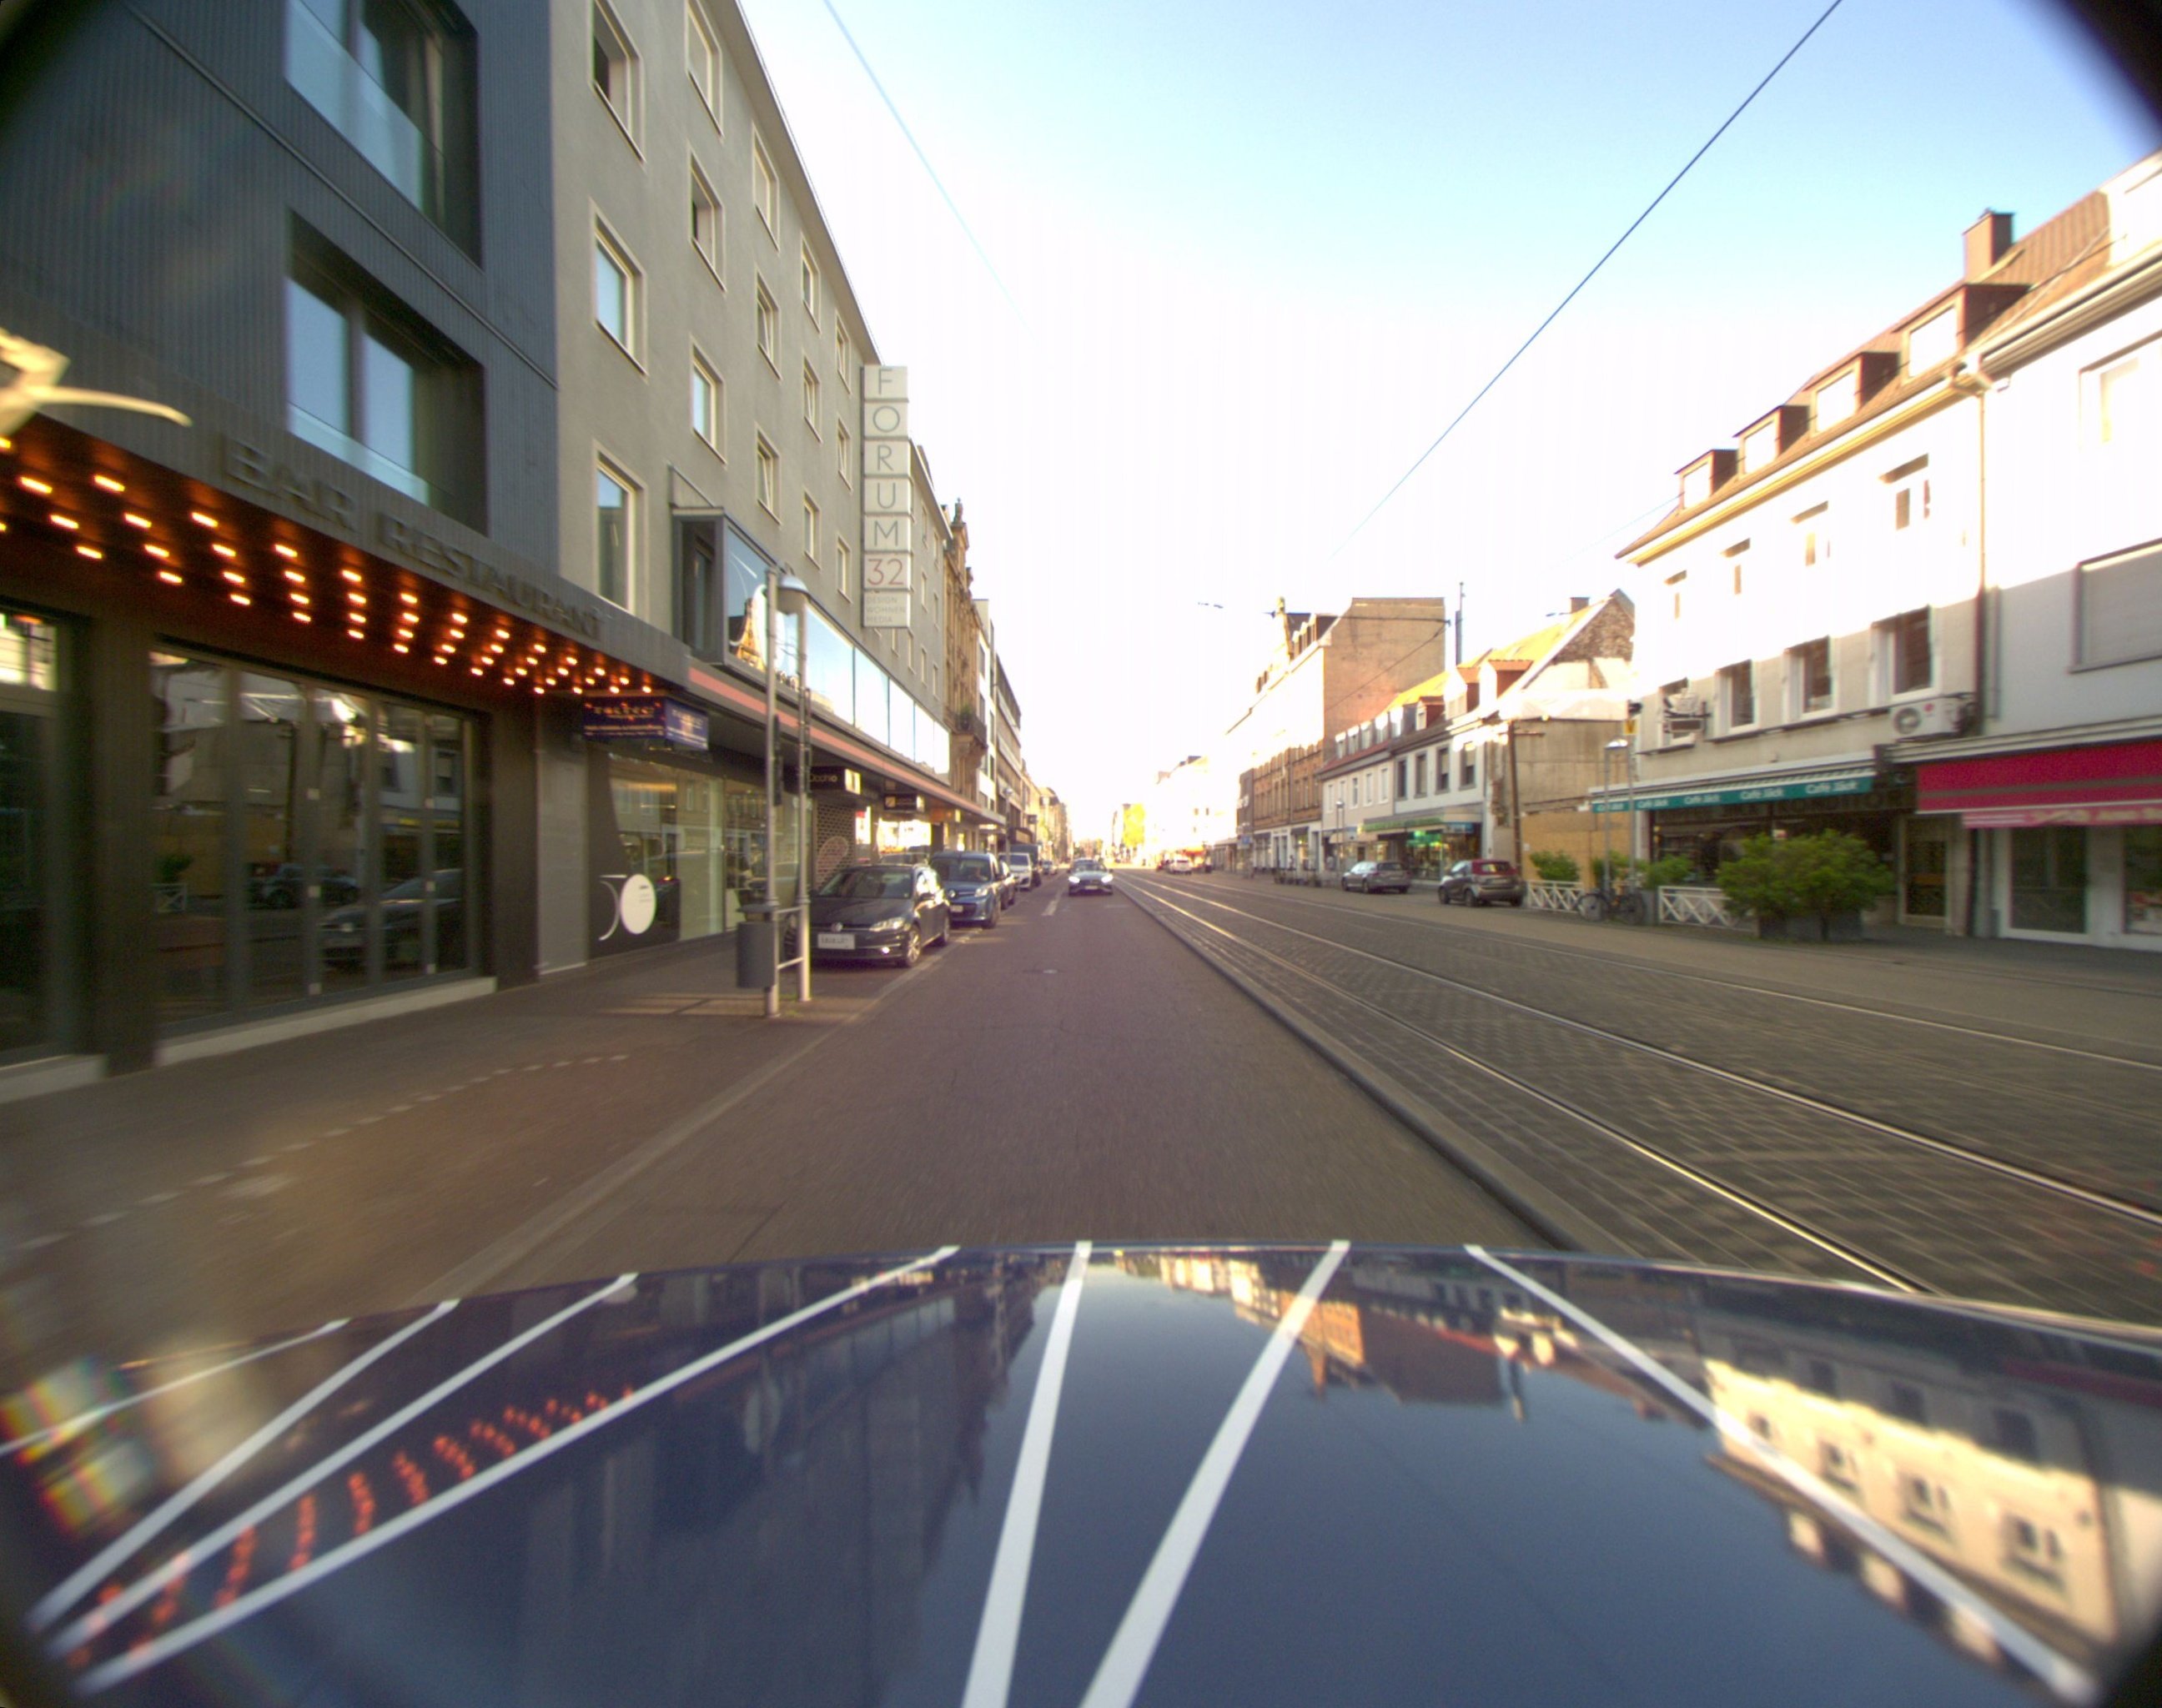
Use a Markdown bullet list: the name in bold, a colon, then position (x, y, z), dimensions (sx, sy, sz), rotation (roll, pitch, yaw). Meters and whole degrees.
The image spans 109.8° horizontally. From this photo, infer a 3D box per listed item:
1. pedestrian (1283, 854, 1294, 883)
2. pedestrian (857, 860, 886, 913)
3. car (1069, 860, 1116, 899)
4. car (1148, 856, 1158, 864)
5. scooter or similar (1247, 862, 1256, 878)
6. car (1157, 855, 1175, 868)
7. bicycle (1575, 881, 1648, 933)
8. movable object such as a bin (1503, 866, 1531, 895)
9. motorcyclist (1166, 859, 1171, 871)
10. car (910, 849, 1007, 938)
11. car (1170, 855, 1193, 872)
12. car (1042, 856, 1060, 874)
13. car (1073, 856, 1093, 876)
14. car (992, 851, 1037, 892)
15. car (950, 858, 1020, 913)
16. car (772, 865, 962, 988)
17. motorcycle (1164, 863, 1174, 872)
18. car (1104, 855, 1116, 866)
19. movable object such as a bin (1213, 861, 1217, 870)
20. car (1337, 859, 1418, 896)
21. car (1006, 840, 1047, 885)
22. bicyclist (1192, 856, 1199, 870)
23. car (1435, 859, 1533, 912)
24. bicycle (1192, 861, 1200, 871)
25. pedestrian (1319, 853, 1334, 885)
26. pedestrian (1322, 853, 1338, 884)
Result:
- **pedestrian**: position (13.498, 0.936, 49.352), dimensions (0.581, 1.795, 0.659), rotation (-2, 1, 12)
- **pedestrian**: position (-5.909, 0.911, 21.491), dimensions (0.577, 1.431, 0.731), rotation (2, 1, 0)
- **car**: position (0.446, 1.029, 32.083), dimensions (1.858, 1.463, 4.785), rotation (0, 0, 0)
- **car**: position (14.625, 1.159, 155.189), dimensions (1.630, 1.524, 3.463), rotation (2, 0, 0)
- **scooter or similar**: position (13.704, 1.296, 61.037), dimensions (0.404, 1.216, 1.202), rotation (-2, 1, 0)
- **car**: position (10.242, 0.863, 91.810), dimensions (1.667, 1.521, 4.000), rotation (1, 0, 0)
- **bicycle**: position (12.590, 1.229, 18.096), dimensions (0.519, 1.084, 1.716), rotation (-2, 1, 1)
- **movable object such as a bin**: position (17.320, 1.055, 30.192), dimensions (0.661, 1.087, 0.697), rotation (-2, 1, 0)
- **motorcyclist**: position (9.986, 1.257, 86.883), dimensions (0.540, 1.295, 0.655), rotation (1, 1, 0)
- **car**: position (-2.795, 0.824, 18.251), dimensions (1.821, 1.849, 4.548), rotation (1, 0, -3)
- **car**: position (9.979, 0.962, 75.519), dimensions (1.802, 1.625, 3.676), rotation (0, 0, 0)
- **car**: position (-2.889, 1.046, 73.861), dimensions (1.630, 1.543, 3.508), rotation (2, 0, 0)
- **car**: position (0.182, 0.965, 63.711), dimensions (1.630, 1.593, 3.330), rotation (2, 0, 0)
- **car**: position (-3.334, 0.825, 38.669), dimensions (2.052, 1.899, 4.877), rotation (0, 0, -3)
- **car**: position (-3.036, 0.964, 24.924), dimensions (1.768, 1.568, 4.287), rotation (1, 0, -1)
- **car**: position (-3.136, 0.980, 12.110), dimensions (1.726, 1.476, 4.416), rotation (2, 0, 0)
- **motorcycle**: position (10.032, 1.499, 86.961), dimensions (0.907, 0.987, 1.935), rotation (1, 0, 0)
- **car**: position (5.412, 1.183, 141.504), dimensions (1.998, 2.002, 4.000), rotation (-2, 0, 1)
- **movable object such as a bin**: position (14.954, 1.303, 84.969), dimensions (0.325, 0.942, 0.467), rotation (0, 1, 0)
- **car**: position (13.405, 1.016, 34.667), dimensions (1.822, 1.505, 4.762), rotation (-1, 0, 0)
- **car**: position (-3.188, 0.546, 45.627), dimensions (2.051, 2.486, 5.687), rotation (-2, -1, -1)
- **bicyclist**: position (13.364, 1.071, 88.597), dimensions (0.576, 1.538, 0.861), rotation (-2, 1, 0)
- **car**: position (13.292, 0.994, 25.226), dimensions (1.701, 1.594, 2.891), rotation (-2, 0, 0)
- **bicycle**: position (13.388, 1.414, 88.677), dimensions (0.610, 1.142, 2.100), rotation (-2, 0, 0)
- **pedestrian**: position (14.516, 0.873, 44.885), dimensions (0.657, 1.838, 0.583), rotation (-2, 1, 30)
- **pedestrian**: position (14.405, 0.850, 44.003), dimensions (0.658, 1.752, 0.581), rotation (-2, 1, -8)
